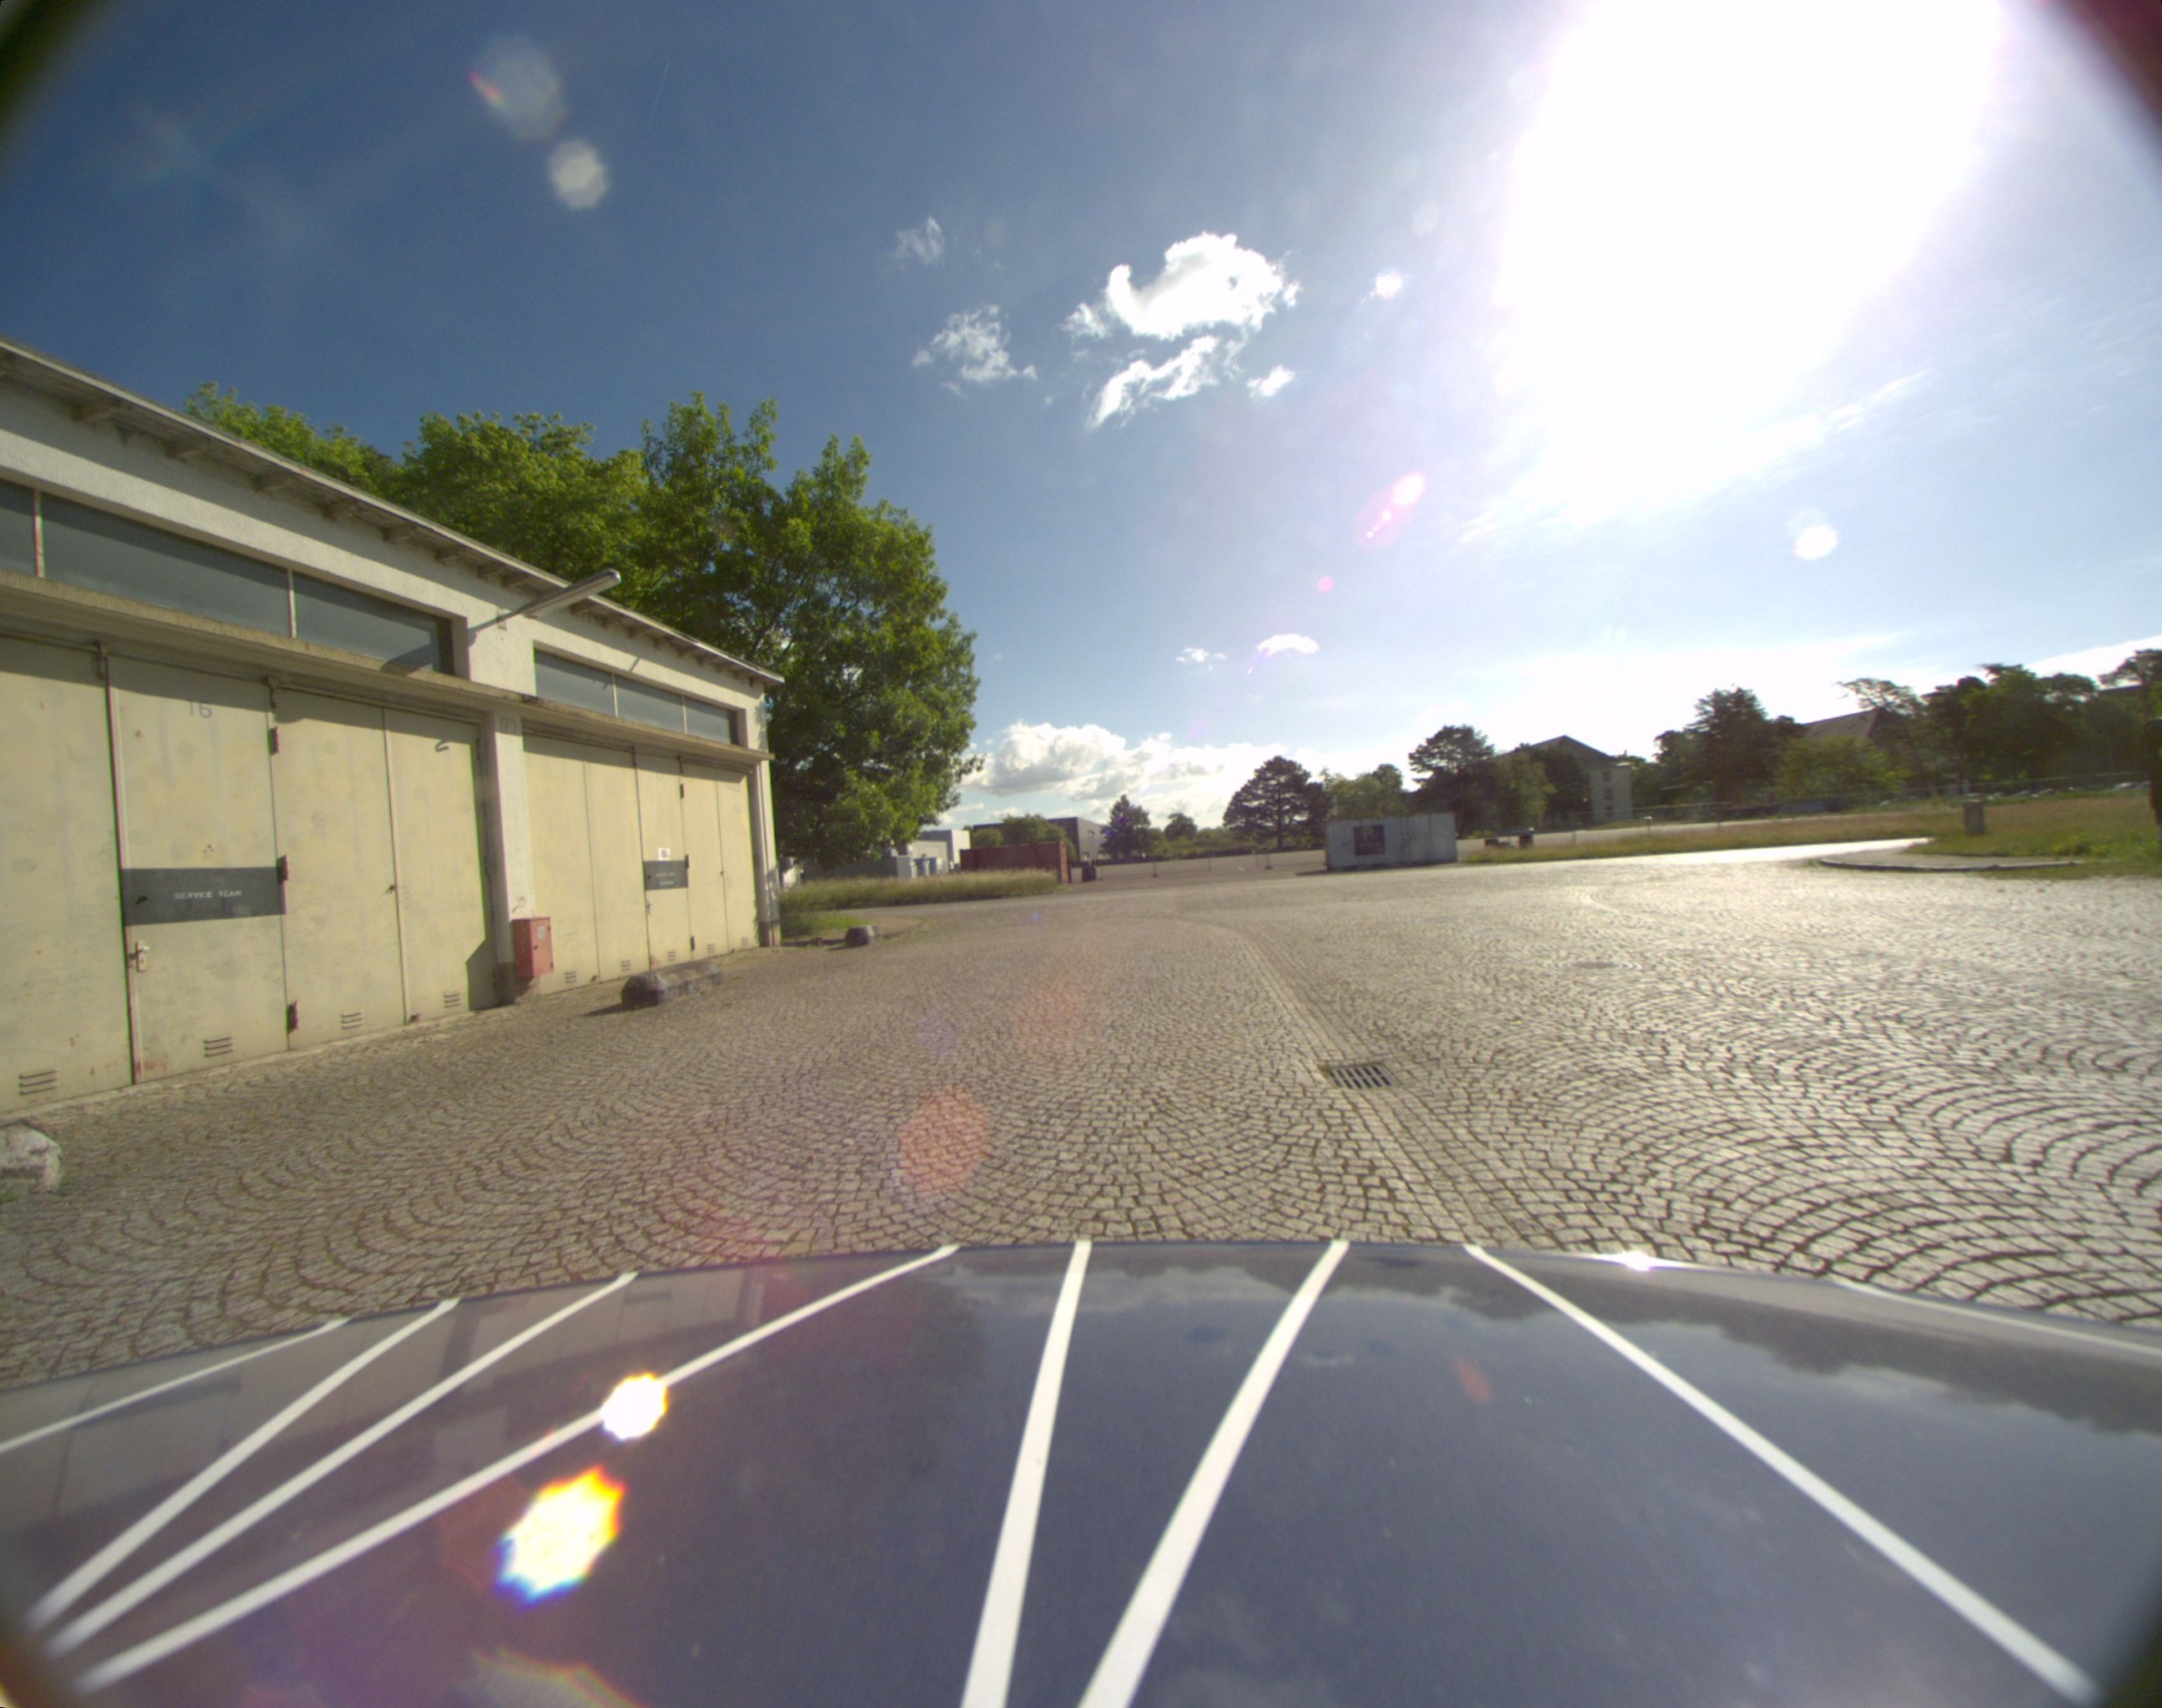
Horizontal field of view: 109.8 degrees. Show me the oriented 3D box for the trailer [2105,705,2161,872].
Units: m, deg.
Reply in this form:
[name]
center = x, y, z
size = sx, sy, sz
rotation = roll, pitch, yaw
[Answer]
[trailer]
center = 17.529, -1.111, 10.563
size = 3.391, 2.455, 2.045
rotation = -6, 1, 8
